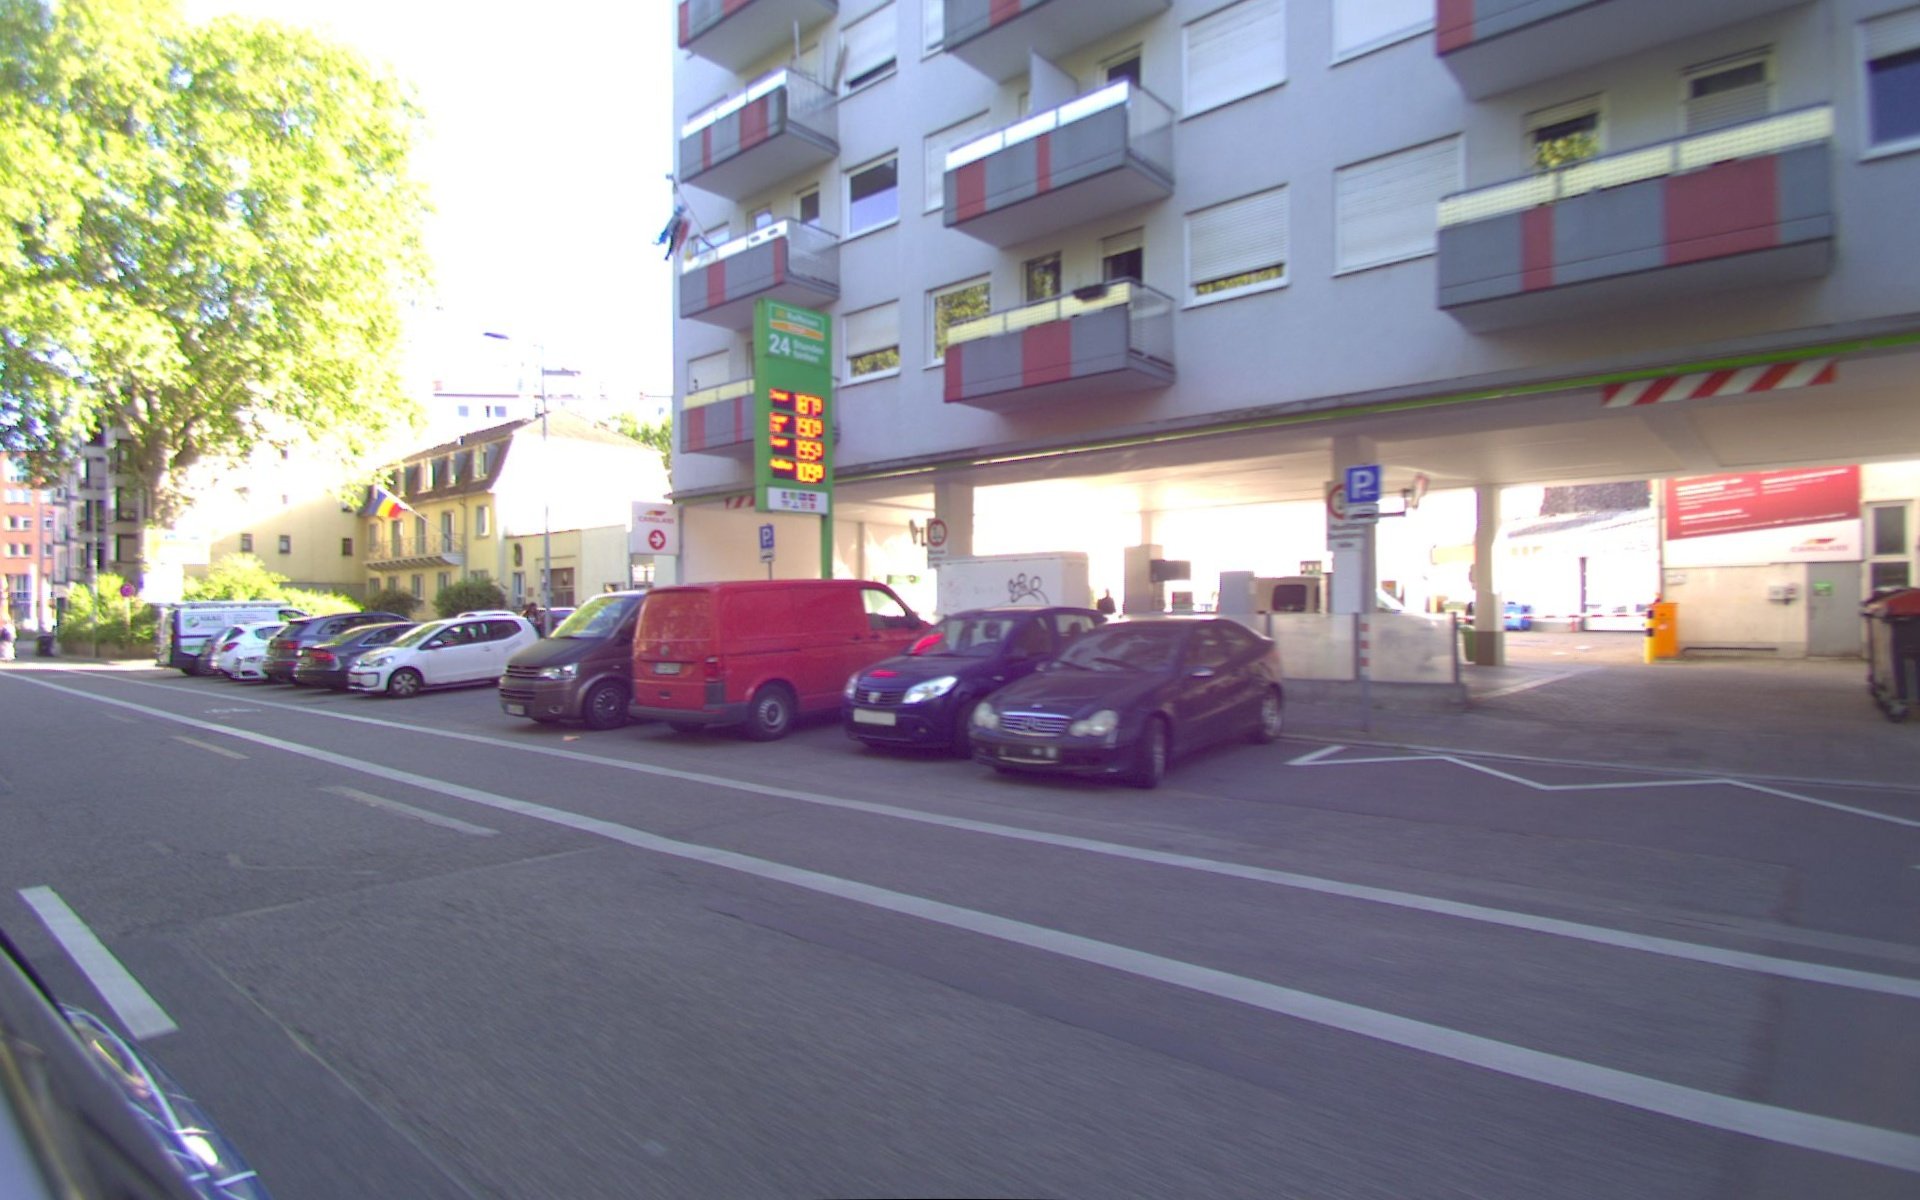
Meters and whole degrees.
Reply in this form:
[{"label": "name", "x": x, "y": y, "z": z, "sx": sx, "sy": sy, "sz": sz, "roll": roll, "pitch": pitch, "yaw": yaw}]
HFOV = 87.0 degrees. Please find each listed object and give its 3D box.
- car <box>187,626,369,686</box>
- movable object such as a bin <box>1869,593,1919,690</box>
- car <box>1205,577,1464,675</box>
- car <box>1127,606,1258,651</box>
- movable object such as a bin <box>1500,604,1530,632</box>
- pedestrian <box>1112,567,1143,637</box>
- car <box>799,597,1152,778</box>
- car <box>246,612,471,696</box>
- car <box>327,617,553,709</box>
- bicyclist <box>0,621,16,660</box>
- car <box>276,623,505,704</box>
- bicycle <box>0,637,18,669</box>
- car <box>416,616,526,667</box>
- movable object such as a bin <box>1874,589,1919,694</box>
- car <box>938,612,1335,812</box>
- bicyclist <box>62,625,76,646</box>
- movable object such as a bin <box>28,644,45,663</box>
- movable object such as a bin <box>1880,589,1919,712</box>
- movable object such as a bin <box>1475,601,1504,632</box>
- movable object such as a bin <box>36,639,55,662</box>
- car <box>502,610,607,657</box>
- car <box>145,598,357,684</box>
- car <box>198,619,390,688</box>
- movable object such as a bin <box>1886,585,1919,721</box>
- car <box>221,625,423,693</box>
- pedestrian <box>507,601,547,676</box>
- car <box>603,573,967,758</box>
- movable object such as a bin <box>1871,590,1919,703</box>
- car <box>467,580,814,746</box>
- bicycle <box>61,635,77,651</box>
[{"label": "car", "x": -19.371, "y": 1.532, "z": 28.849, "sx": 1.852, "sy": 1.444, "sz": 3.946, "roll": -2, "pitch": 0, "yaw": 40}, {"label": "movable object such as a bin", "x": 14.294, "y": 0.604, "z": 15.055, "sx": 1.089, "sy": 1.411, "sz": 1.264, "roll": -2, "pitch": -2, "yaw": 41}, {"label": "car", "x": 7.406, "y": 0.490, "z": 20.308, "sx": 4.583, "sy": 1.760, "sz": 1.703, "roll": -1, "pitch": -1, "yaw": 41}, {"label": "car", "x": 8.288, "y": 1.018, "z": 36.305, "sx": 4.252, "sy": 1.475, "sz": 1.757, "roll": -2, "pitch": -1, "yaw": 41}, {"label": "movable object such as a bin", "x": 26.334, "y": 0.847, "z": 48.045, "sx": 0.829, "sy": 1.323, "sz": 1.001, "roll": -1, "pitch": 0, "yaw": -38}, {"label": "pedestrian", "x": 4.013, "y": 0.050, "z": 24.281, "sx": 0.531, "sy": 1.662, "sz": 0.636, "roll": -1, "pitch": -1, "yaw": -6}, {"label": "car", "x": 0.347, "y": 0.842, "z": 11.792, "sx": 1.885, "sy": 1.575, "sz": 4.130, "roll": -1, "pitch": 1, "yaw": 41}, {"label": "car", "x": -14.169, "y": 1.203, "z": 24.016, "sx": 2.027, "sy": 1.696, "sz": 4.151, "roll": -1, "pitch": 0, "yaw": 40}, {"label": "car", "x": -10.502, "y": 1.203, "z": 20.614, "sx": 1.829, "sy": 1.524, "sz": 3.648, "roll": -1, "pitch": 1, "yaw": 40}, {"label": "bicyclist", "x": -38.748, "y": 1.637, "z": 40.971, "sx": 0.933, "sy": 1.557, "sz": 0.600, "roll": -2, "pitch": -4, "yaw": 41}, {"label": "car", "x": -12.332, "y": 1.302, "z": 22.083, "sx": 1.915, "sy": 1.466, "sz": 3.946, "roll": -2, "pitch": 0, "yaw": 40}, {"label": "bicycle", "x": -38.525, "y": 2.137, "z": 40.764, "sx": 2.048, "sy": 1.249, "sz": 0.600, "roll": -2, "pitch": -4, "yaw": 41}, {"label": "car", "x": -16.092, "y": 1.338, "z": 33.222, "sx": 3.998, "sy": 1.475, "sz": 1.771, "roll": -2, "pitch": 1, "yaw": 41}, {"label": "movable object such as a bin", "x": 13.442, "y": 0.565, "z": 14.021, "sx": 1.089, "sy": 1.411, "sz": 1.264, "roll": -2, "pitch": -2, "yaw": 41}, {"label": "car", "x": 1.943, "y": 0.900, "z": 10.097, "sx": 2.045, "sy": 1.390, "sz": 4.185, "roll": -1, "pitch": 1, "yaw": 41}, {"label": "bicyclist", "x": -72.112, "y": 2.852, "z": 81.930, "sx": 1.167, "sy": 1.654, "sz": 0.721, "roll": -1, "pitch": -1, "yaw": 43}, {"label": "movable object such as a bin", "x": -45.876, "y": 2.642, "z": 50.271, "sx": 0.603, "sy": 0.908, "sz": 0.536, "roll": -2, "pitch": -2, "yaw": 41}, {"label": "movable object such as a bin", "x": 11.560, "y": 0.579, "z": 11.859, "sx": 1.089, "sy": 1.411, "sz": 1.264, "roll": -2, "pitch": -2, "yaw": 41}, {"label": "movable object such as a bin", "x": 25.670, "y": 0.781, "z": 49.070, "sx": 0.829, "sy": 1.466, "sz": 1.001, "roll": -1, "pitch": 0, "yaw": -38}, {"label": "movable object such as a bin", "x": -44.337, "y": 2.436, "z": 49.064, "sx": 0.644, "sy": 1.079, "sz": 0.588, "roll": -2, "pitch": -2, "yaw": 41}, {"label": "car", "x": -14.346, "y": 1.175, "z": 35.719, "sx": 3.998, "sy": 1.475, "sz": 1.771, "roll": -2, "pitch": 1, "yaw": 41}, {"label": "car", "x": -21.116, "y": 1.149, "z": 30.307, "sx": 2.138, "sy": 2.233, "sz": 4.795, "roll": -1, "pitch": 1, "yaw": 40}, {"label": "car", "x": -17.770, "y": 1.372, "z": 27.140, "sx": 1.852, "sy": 1.571, "sz": 3.946, "roll": -2, "pitch": 0, "yaw": 40}, {"label": "movable object such as a bin", "x": 10.689, "y": 0.551, "z": 10.820, "sx": 1.089, "sy": 1.411, "sz": 1.264, "roll": -2, "pitch": -2, "yaw": 41}, {"label": "car", "x": -16.062, "y": 1.430, "z": 25.614, "sx": 1.852, "sy": 1.444, "sz": 3.946, "roll": -2, "pitch": 0, "yaw": 40}, {"label": "pedestrian", "x": -10.596, "y": 0.925, "z": 24.753, "sx": 0.722, "sy": 1.803, "sz": 0.625, "roll": -2, "pitch": -2, "yaw": 41}, {"label": "car", "x": -2.169, "y": 0.703, "z": 13.535, "sx": 2.145, "sy": 1.966, "sz": 4.376, "roll": -2, "pitch": 1, "yaw": 41}, {"label": "movable object such as a bin", "x": 12.439, "y": 0.582, "z": 12.959, "sx": 1.089, "sy": 1.411, "sz": 1.264, "roll": -2, "pitch": -2, "yaw": 41}, {"label": "car", "x": -4.579, "y": 0.781, "z": 15.065, "sx": 2.055, "sy": 1.966, "sz": 4.476, "roll": -2, "pitch": 1, "yaw": 41}, {"label": "bicycle", "x": -72.151, "y": 3.468, "z": 81.963, "sx": 2.178, "sy": 1.209, "sz": 0.721, "roll": -1, "pitch": -3, "yaw": 43}]
